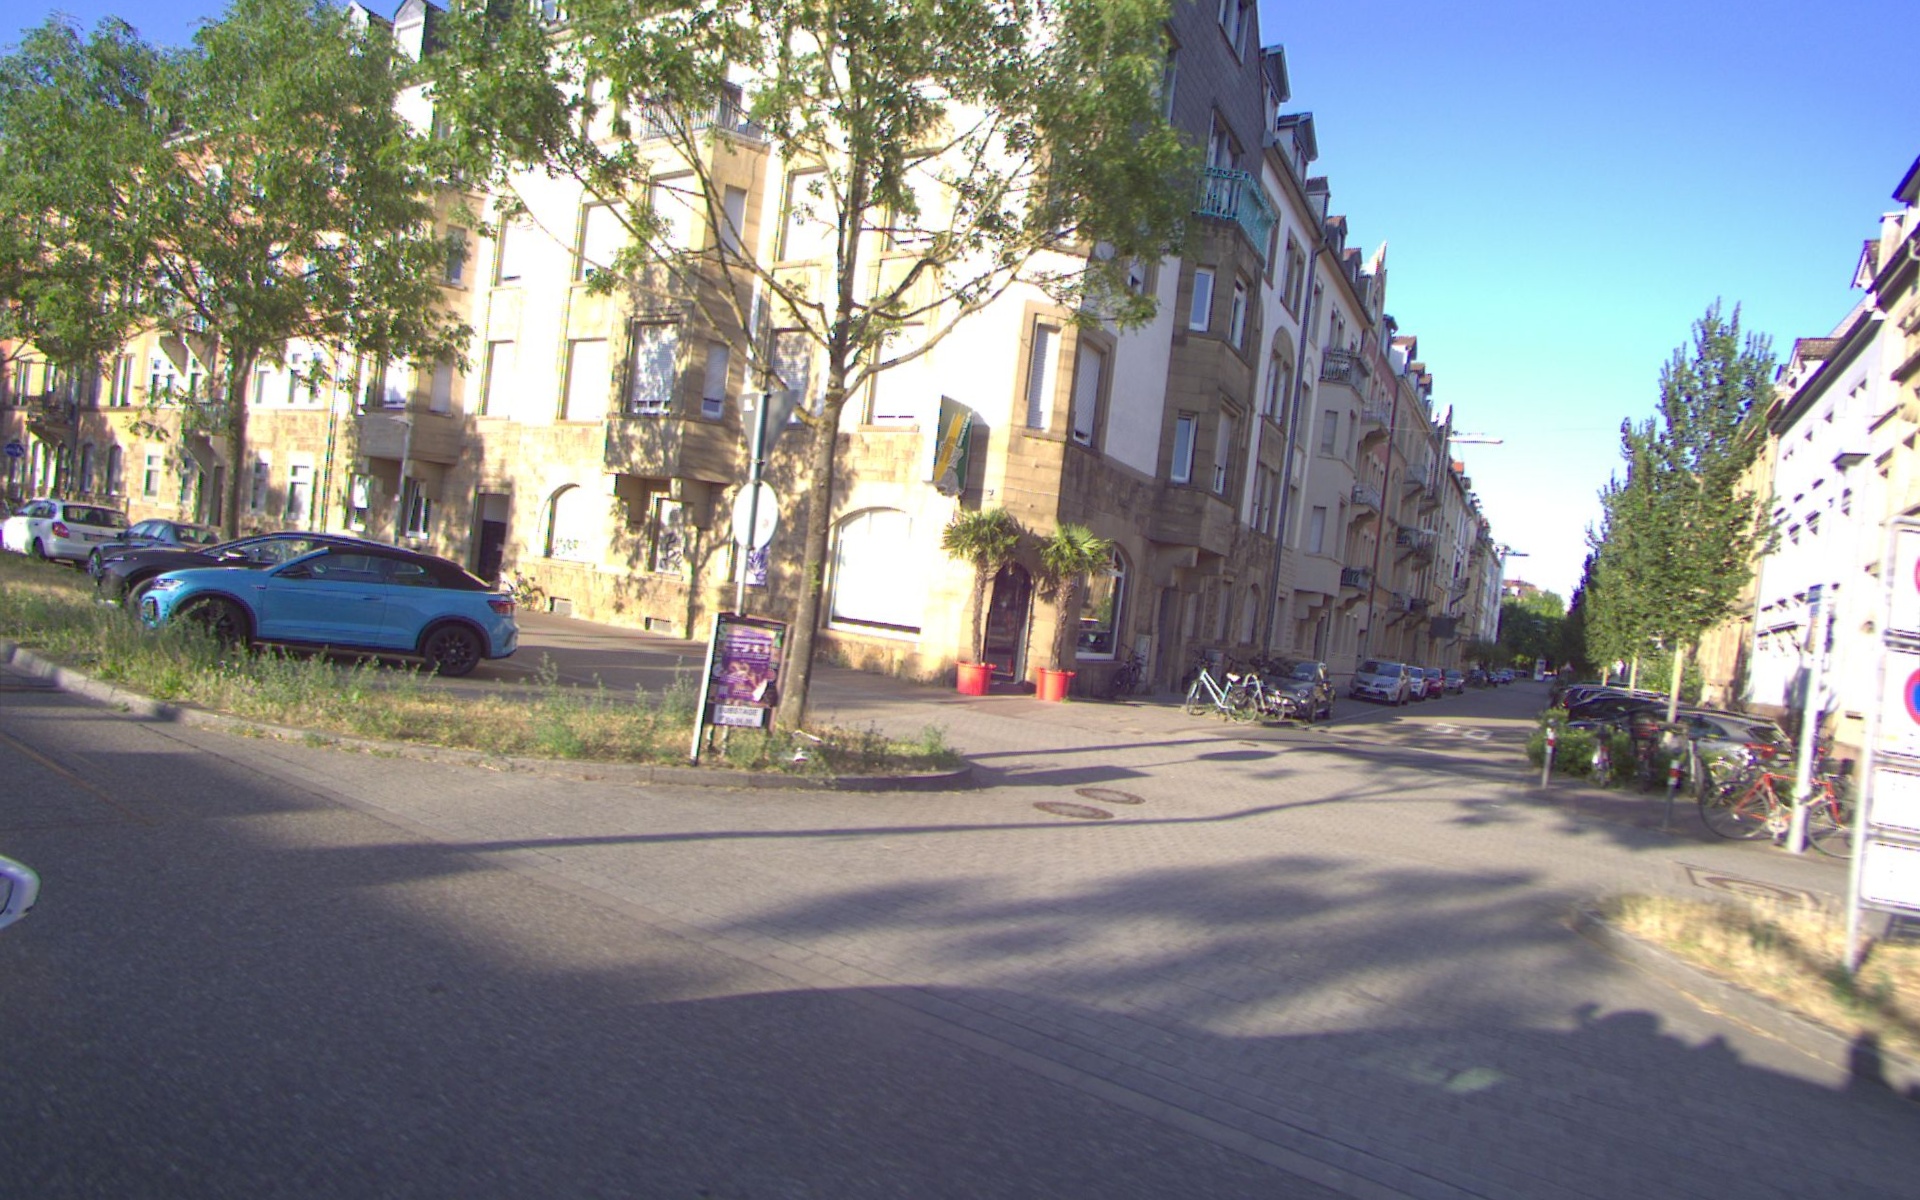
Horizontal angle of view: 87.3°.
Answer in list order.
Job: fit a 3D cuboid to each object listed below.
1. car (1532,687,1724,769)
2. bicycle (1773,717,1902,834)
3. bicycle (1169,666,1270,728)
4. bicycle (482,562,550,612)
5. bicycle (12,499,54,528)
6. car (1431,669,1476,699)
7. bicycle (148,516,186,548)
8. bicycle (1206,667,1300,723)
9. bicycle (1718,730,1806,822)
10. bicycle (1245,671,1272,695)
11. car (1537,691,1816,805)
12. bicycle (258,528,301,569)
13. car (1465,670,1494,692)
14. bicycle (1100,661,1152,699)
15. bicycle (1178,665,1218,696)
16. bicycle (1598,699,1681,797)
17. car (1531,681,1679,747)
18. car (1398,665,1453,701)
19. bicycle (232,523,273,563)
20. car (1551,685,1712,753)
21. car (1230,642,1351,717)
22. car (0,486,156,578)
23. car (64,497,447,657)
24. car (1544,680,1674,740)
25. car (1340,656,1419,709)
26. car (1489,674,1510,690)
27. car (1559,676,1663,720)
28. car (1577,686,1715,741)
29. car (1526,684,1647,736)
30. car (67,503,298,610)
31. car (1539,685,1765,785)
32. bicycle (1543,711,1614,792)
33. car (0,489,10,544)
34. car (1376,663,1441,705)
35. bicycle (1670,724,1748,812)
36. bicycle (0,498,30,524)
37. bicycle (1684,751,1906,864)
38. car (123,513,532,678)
[{"bbox_3d":[17.384,3.311,26.310,1.854,1.492,3.672,7,0,-38],"label":"car"},{"bbox_3d":[13.122,2.564,15.147,0.718,1.401,2.670,7,0,28],"label":"bicycle"},{"bbox_3d":[5.280,1.963,20.583,0.626,0.959,1.861,7,1,-43],"label":"bicycle"},{"bbox_3d":[-11.522,-0.335,26.093,1.865,1.087,0.572,7,2,32],"label":"bicycle"},{"bbox_3d":[-36.788,-3.431,39.923,2.302,0.960,0.733,7,2,35],"label":"bicycle"},{"bbox_3d":[31.261,5.325,63.624,1.967,1.484,4.103,9,0,32],"label":"car"},{"bbox_3d":[-29.042,-2.491,36.827,1.717,1.018,0.484,7,1,32],"label":"bicycle"},{"bbox_3d":[6.652,2.148,22.903,1.853,0.959,0.629,8,1,32],"label":"bicycle"},{"bbox_3d":[12.311,2.663,15.502,0.529,1.119,2.209,7,0,28],"label":"bicycle"},{"bbox_3d":[9.327,2.600,31.428,0.424,0.661,1.270,8,0,31],"label":"bicycle"},{"bbox_3d":[14.551,2.966,20.699,1.848,1.510,4.169,7,0,-29],"label":"car"},{"bbox_3d":[-21.948,-1.650,32.442,1.717,1.182,0.482,7,6,32],"label":"bicycle"},{"bbox_3d":[43.082,6.724,83.428,1.965,1.483,4.109,8,-1,28],"label":"car"},{"bbox_3d":[3.735,1.805,22.565,0.522,0.744,1.543,8,0,31],"label":"bicycle"},{"bbox_3d":[6.435,2.173,27.204,0.522,0.744,1.543,8,0,31],"label":"bicycle"},{"bbox_3d":[11.060,2.358,16.441,0.718,1.336,2.354,7,0,28],"label":"bicycle"},{"bbox_3d":[21.624,3.803,33.804,1.854,1.575,3.672,7,0,-38],"label":"car"},{"bbox_3d":[24.535,4.349,52.927,1.967,1.484,4.102,10,1,32],"label":"car"},{"bbox_3d":[-23.517,-1.888,33.435,1.717,1.182,0.482,7,6,32],"label":"bicycle"},{"bbox_3d":[20.816,3.674,31.272,1.854,1.492,3.670,7,0,-40],"label":"car"},{"bbox_3d":[8.605,2.033,25.952,1.966,1.484,3.992,10,1,31],"label":"car"},{"bbox_3d":[-20.263,-1.577,22.795,4.201,1.529,1.730,7,-3,31],"label":"car"},{"bbox_3d":[-10.162,-0.295,15.004,4.296,1.589,1.987,9,-1,-29],"label":"car"},{"bbox_3d":[24.938,4.206,38.750,1.854,1.688,3.672,7,0,-38],"label":"car"},{"bbox_3d":[15.957,3.108,38.181,1.967,1.571,4.103,10,1,32],"label":"car"},{"bbox_3d":[64.244,9.775,119.879,1.965,1.483,4.109,8,-1,28],"label":"car"},{"bbox_3d":[33.113,4.964,51.247,1.854,1.559,3.973,7,0,-38],"label":"car"},{"bbox_3d":[24.092,3.965,35.423,1.678,1.326,3.594,7,0,-38],"label":"car"},{"bbox_3d":[25.596,4.482,41.194,1.854,1.492,3.672,7,0,-38],"label":"car"},{"bbox_3d":[-15.582,-0.895,20.101,4.827,1.461,1.950,7,-3,31],"label":"car"},{"bbox_3d":[15.963,3.076,23.361,1.853,1.596,3.834,7,0,-37],"label":"car"},{"bbox_3d":[10.190,2.462,16.633,0.718,1.063,2.332,7,0,28],"label":"bicycle"},{"bbox_3d":[-28.107,-2.555,27.710,4.218,1.464,1.708,7,-3,32],"label":"car"},{"bbox_3d":[20.363,3.808,45.588,1.967,1.484,4.103,10,1,32],"label":"car"},{"bbox_3d":[11.837,2.621,15.947,0.565,1.138,1.976,7,0,28],"label":"bicycle"},{"bbox_3d":[-38.978,-3.680,41.138,2.051,0.928,0.872,7,2,34],"label":"bicycle"},{"bbox_3d":[9.592,2.368,11.651,1.853,0.885,0.459,6,5,32],"label":"bicycle"},{"bbox_3d":[-8.119,-0.015,13.417,4.236,1.540,1.835,8,0,-26],"label":"car"}]
